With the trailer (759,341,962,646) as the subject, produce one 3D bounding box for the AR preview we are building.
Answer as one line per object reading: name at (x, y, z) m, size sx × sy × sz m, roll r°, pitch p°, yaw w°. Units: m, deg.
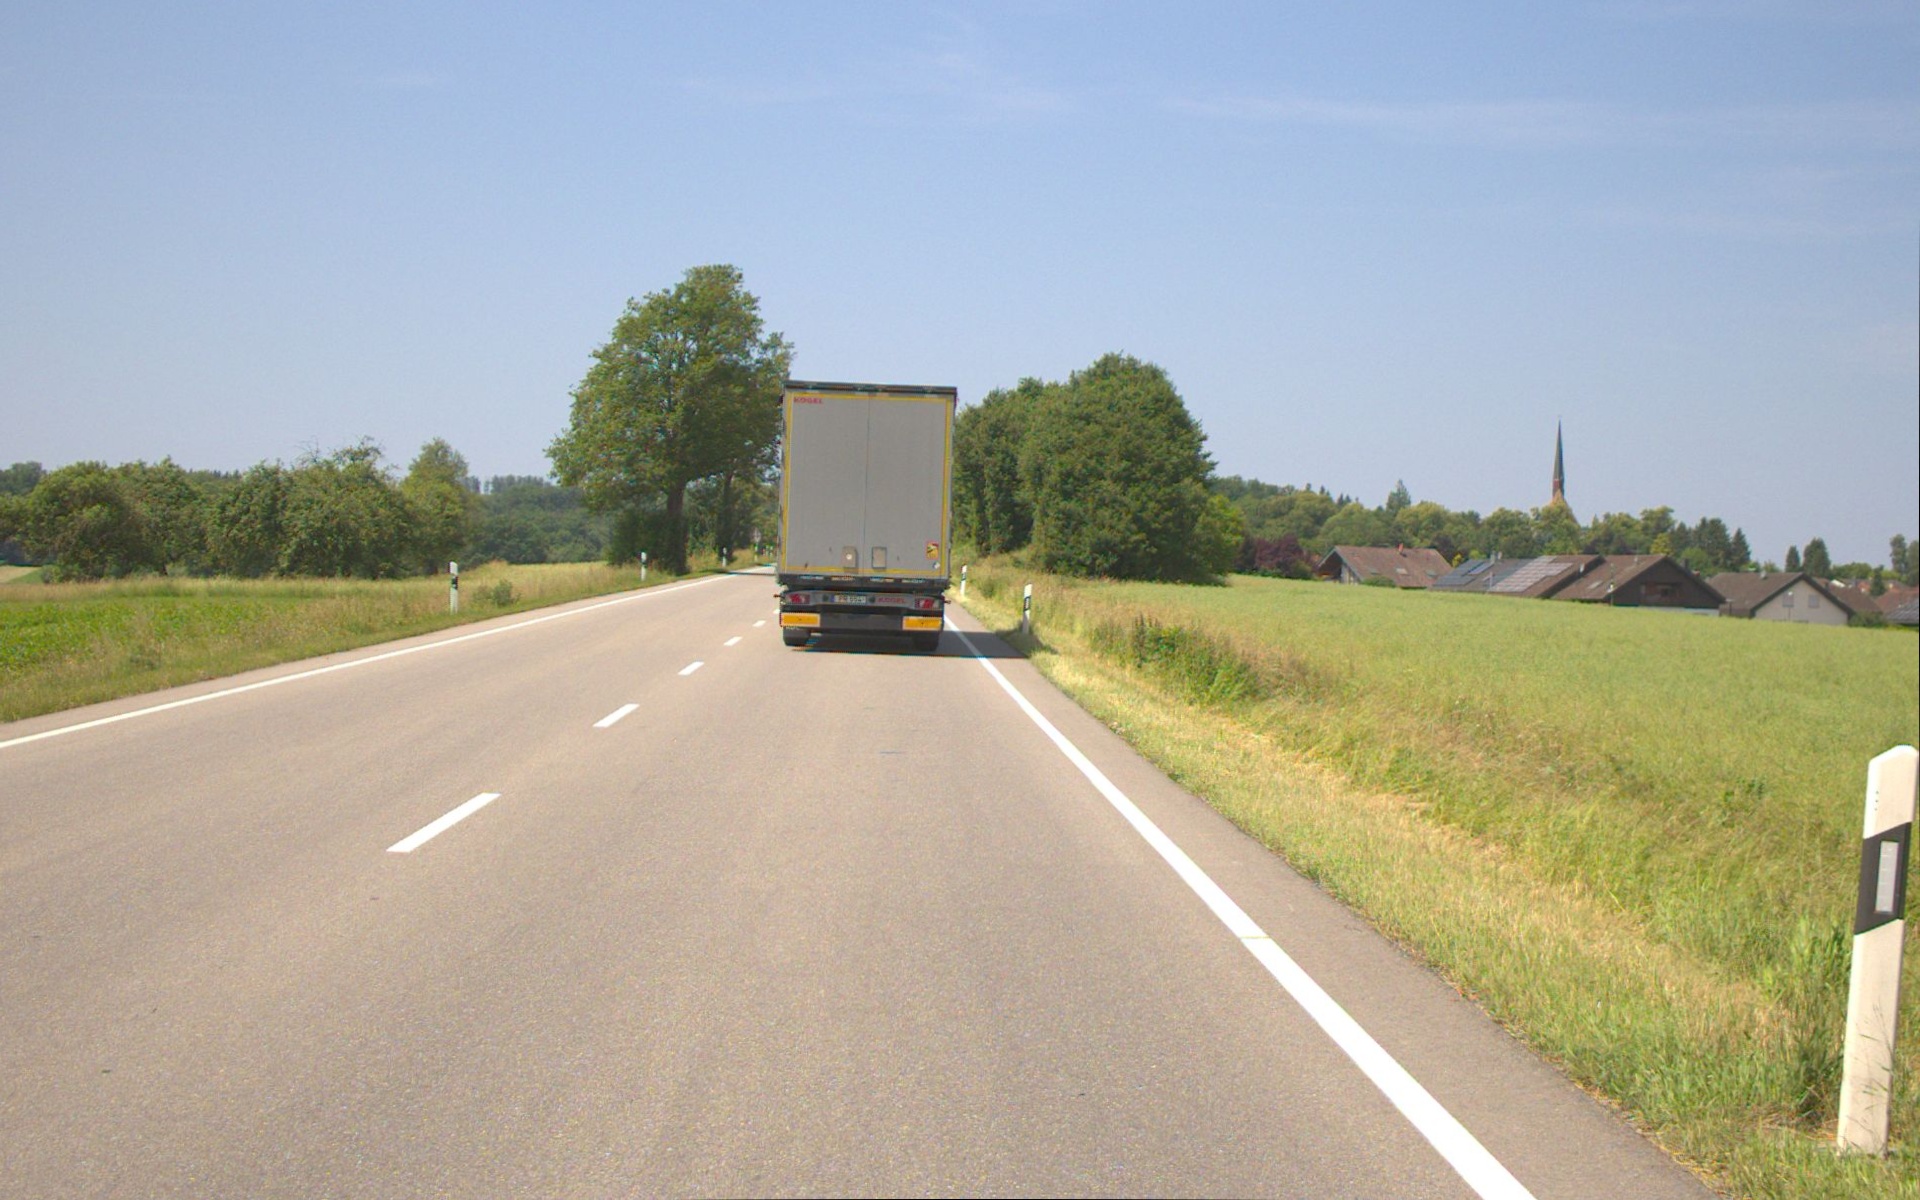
trailer at (-1.679, -1.675, 56.903) m, size 2.867 × 4.385 × 13.494 m, roll 1°, pitch 1°, yaw -2°
